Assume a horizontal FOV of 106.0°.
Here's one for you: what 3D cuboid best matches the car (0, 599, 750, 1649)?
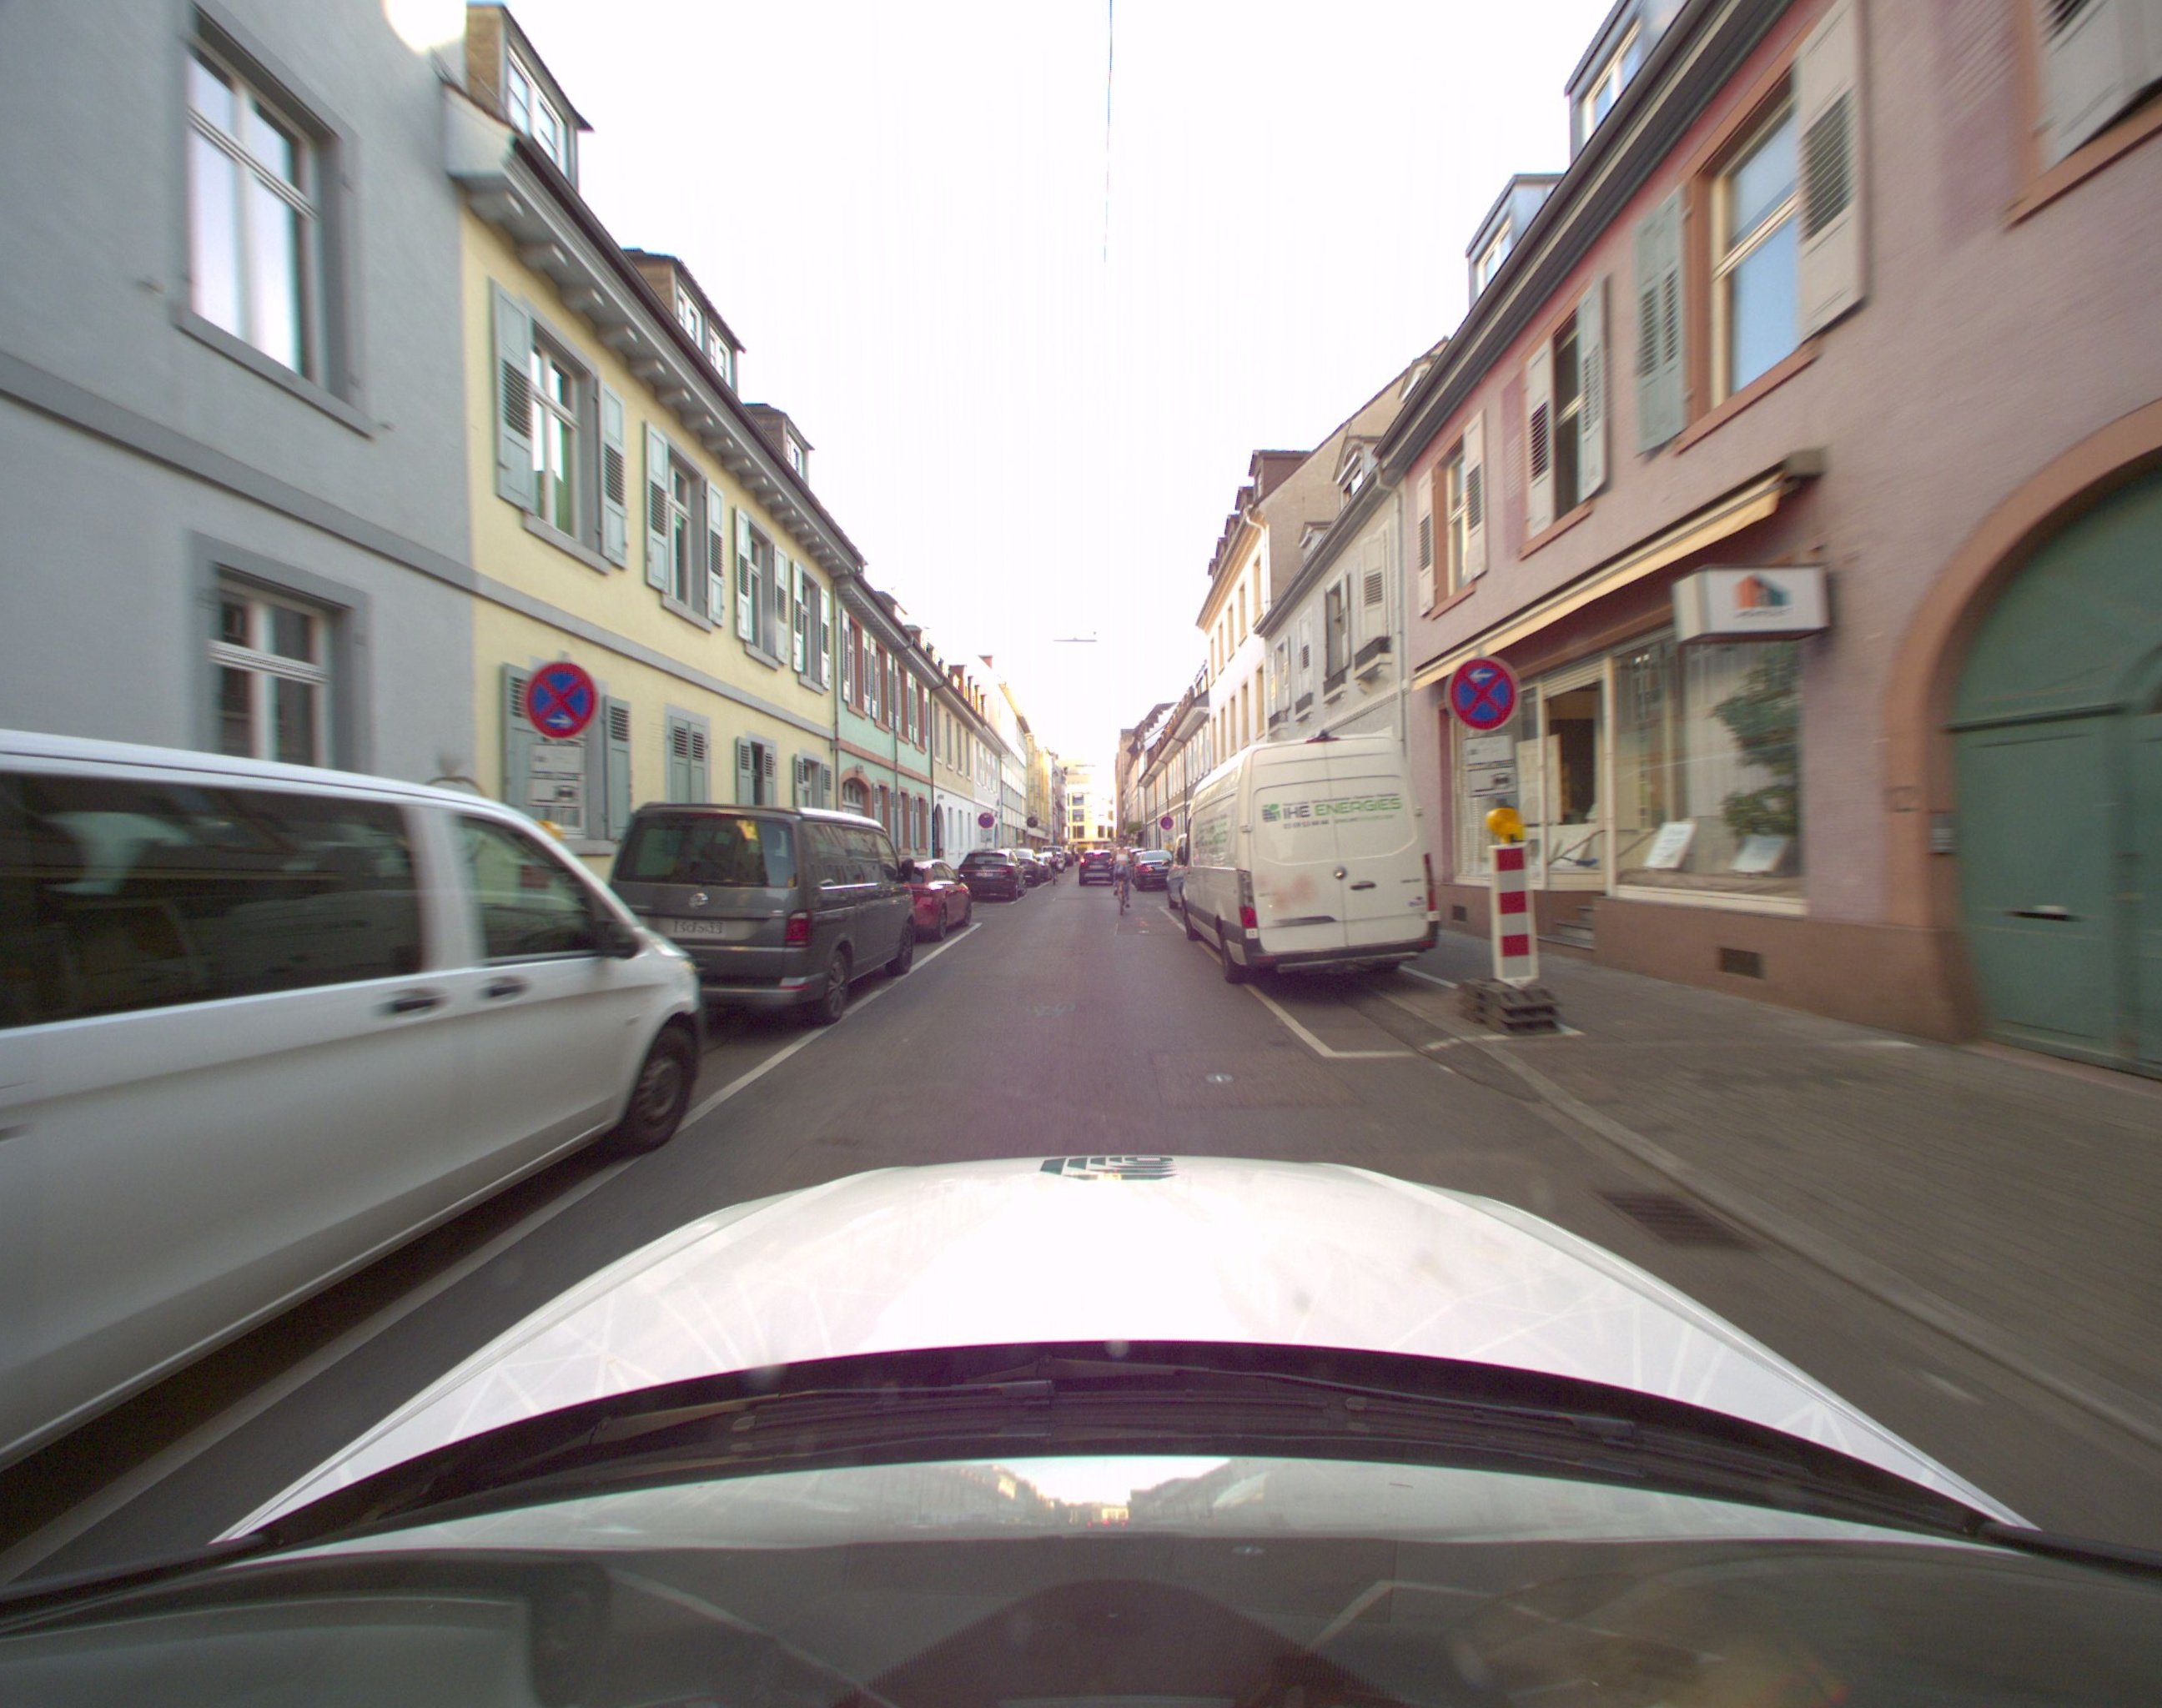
[{"bbox_3d":[-3.018,0.528,2.559,1.857,2.013,5.104,-1,0,0],"label":"car"}]

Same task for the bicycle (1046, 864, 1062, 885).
[{"bbox_3d":[-1.285,0.975,38.915,0.611,0.932,1.887,-1,0,2],"label":"bicycle"}]

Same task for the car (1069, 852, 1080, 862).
[{"bbox_3d":[-1.048,0.451,128.657,1.647,1.561,3.606,0,0,1],"label":"car"}]

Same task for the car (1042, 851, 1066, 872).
[{"bbox_3d":[-1.987,0.532,60.795,1.647,1.561,3.606,0,0,1],"label":"car"}]

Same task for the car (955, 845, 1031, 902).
[{"bbox_3d":[-2.784,0.575,26.701,1.796,1.676,4.492,-1,0,2],"label":"car"}]

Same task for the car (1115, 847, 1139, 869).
[{"bbox_3d":[3.409,0.289,60.991,1.647,1.561,3.606,0,0,1],"label":"car"}]

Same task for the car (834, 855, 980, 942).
[{"bbox_3d":[-3.132,0.741,15.546,1.758,1.401,4.264,-1,0,1],"label":"car"}]

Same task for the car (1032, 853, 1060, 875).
[{"bbox_3d":[-2.365,0.659,55.817,1.647,1.411,3.606,0,0,1],"label":"car"}]

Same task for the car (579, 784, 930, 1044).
[{"bbox_3d":[-3.031,0.465,8.856,1.857,2.013,4.812,-1,0,0],"label":"car"}]

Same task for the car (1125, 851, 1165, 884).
[{"bbox_3d":[3.007,0.604,38.864,1.670,1.486,4.001,0,0,1],"label":"car"}]

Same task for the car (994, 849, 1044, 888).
[{"bbox_3d":[-2.823,0.625,37.800,1.992,1.707,4.534,0,0,-1],"label":"car"}]

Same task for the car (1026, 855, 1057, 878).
[{"bbox_3d":[-2.398,0.750,50.725,1.647,1.411,3.903,0,0,1],"label":"car"}]

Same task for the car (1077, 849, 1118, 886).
[{"bbox_3d":[0.744,0.579,37.907,1.813,1.618,4.000,0,0,0],"label":"car"}]

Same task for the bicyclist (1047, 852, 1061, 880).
[{"bbox_3d":[-1.288,0.573,39.078,0.603,1.369,0.621,-1,0,1],"label":"bicyclist"}]

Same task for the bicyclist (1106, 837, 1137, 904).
[{"bbox_3d":[0.958,0.386,19.363,0.620,1.574,0.682,-1,0,-5],"label":"bicyclist"}]

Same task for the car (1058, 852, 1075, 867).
[{"bbox_3d":[-1.467,0.563,83.322,1.647,1.561,3.606,0,0,1],"label":"car"}]

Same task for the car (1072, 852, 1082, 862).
[{"bbox_3d":[-0.678,0.448,135.468,1.647,1.561,3.606,0,0,1],"label":"car"}]

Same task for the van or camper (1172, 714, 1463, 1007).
[{"bbox_3d":[2.554,0.047,10.987,2.042,2.637,7.065,-1,0,2],"label":"van or camper"}]

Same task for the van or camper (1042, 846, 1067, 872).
[{"bbox_3d":[-2.135,0.397,66.539,1.838,2.013,4.679,0,0,1],"label":"van or camper"}]

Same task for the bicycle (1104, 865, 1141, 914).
[{"bbox_3d":[0.963,0.813,19.365,0.612,1.082,1.806,-1,0,-5],"label":"bicycle"}]

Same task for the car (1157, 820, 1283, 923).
[{"bbox_3d":[3.001,0.358,18.818,1.934,1.894,5.317,-5,0,1],"label":"car"}]

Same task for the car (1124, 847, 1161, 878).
[{"bbox_3d":[3.638,0.480,48.962,1.912,1.738,4.152,0,0,0],"label":"car"}]

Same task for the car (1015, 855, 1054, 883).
[{"bbox_3d":[-2.459,0.756,44.331,1.912,1.434,4.292,0,0,-1],"label":"car"}]

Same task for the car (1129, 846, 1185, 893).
[{"bbox_3d":[2.890,0.559,31.772,1.812,1.530,5.074,-5,0,2],"label":"car"}]
